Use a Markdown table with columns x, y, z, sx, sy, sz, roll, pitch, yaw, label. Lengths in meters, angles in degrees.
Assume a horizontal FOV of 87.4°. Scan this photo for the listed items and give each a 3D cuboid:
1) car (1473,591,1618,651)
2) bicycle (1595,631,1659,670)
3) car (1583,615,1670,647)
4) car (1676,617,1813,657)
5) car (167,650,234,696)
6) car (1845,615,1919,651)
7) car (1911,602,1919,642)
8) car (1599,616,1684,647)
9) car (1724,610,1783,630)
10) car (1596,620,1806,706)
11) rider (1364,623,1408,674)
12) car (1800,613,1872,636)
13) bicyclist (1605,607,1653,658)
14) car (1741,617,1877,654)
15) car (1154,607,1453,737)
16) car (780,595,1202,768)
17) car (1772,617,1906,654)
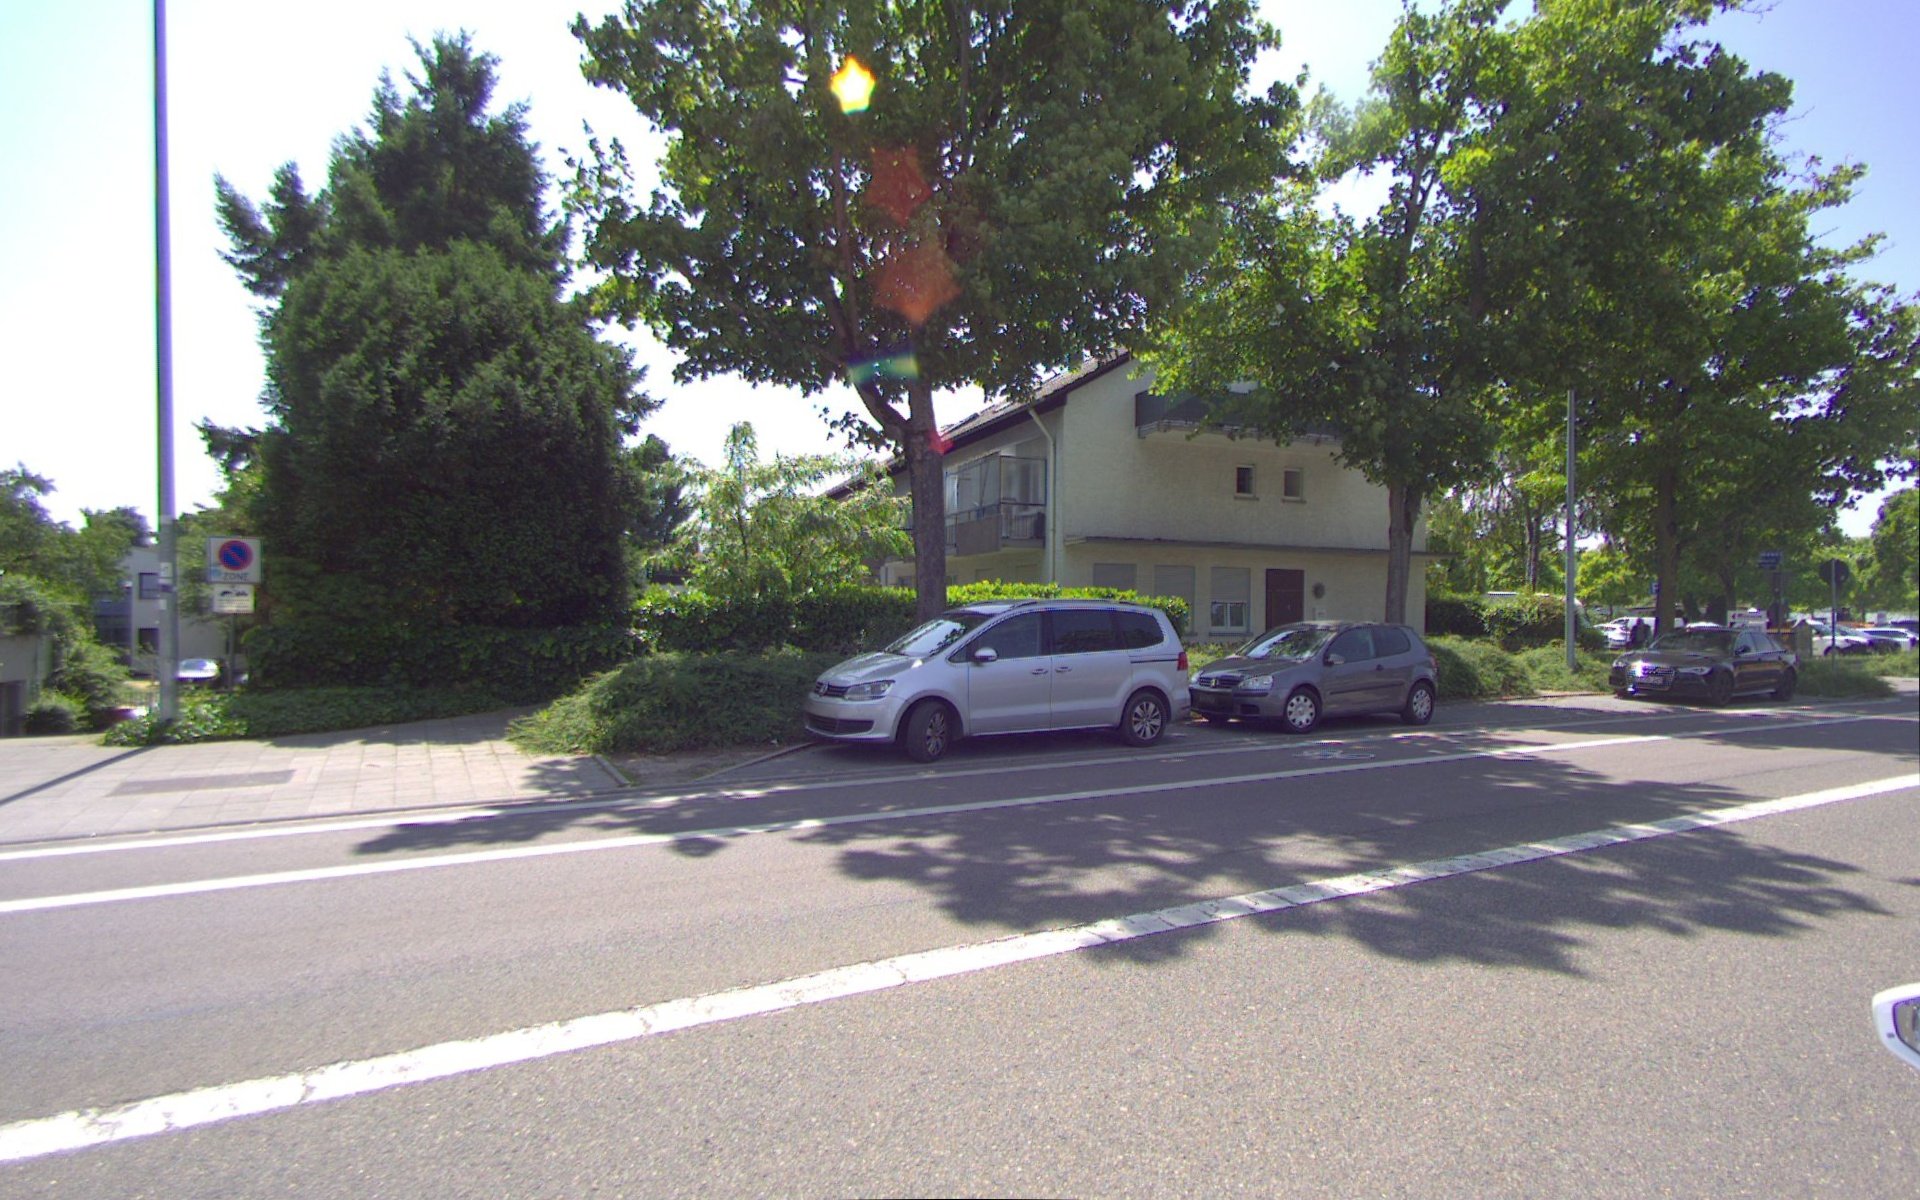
| x | y | z | sx | sy | sz | roll | pitch | yaw | label |
| --- | --- | --- | --- | --- | --- | --- | --- | --- | --- |
| 33.237 | 1.130 | 57.323 | 2.337 | 3.005 | 6.817 | 2 | 1 | -30 | car |
| 19.133 | 1.453 | 28.812 | 1.805 | 1.043 | 0.698 | 2 | 1 | -27 | bicycle |
| 40.032 | 1.863 | 60.437 | 1.799 | 1.675 | 3.957 | 2 | 1 | -37 | car |
| 33.826 | 1.566 | 43.425 | 1.891 | 1.606 | 4.321 | 1 | -1 | -31 | car |
| -35.716 | 3.392 | 47.332 | 1.977 | 1.740 | 3.968 | 2 | 1 | -30 | car |
| 47.635 | 1.659 | 50.792 | 1.975 | 1.769 | 3.968 | 1 | -1 | -30 | car |
| 56.685 | 1.373 | 55.769 | 2.349 | 2.274 | 5.076 | 2 | 1 | -28 | car |
| 41.959 | 1.924 | 61.892 | 1.799 | 1.675 | 3.957 | 2 | 1 | -37 | car |
| 74.998 | 1.852 | 94.981 | 1.794 | 1.638 | 4.003 | 2 | 1 | -28 | car |
| 14.981 | 1.199 | 20.263 | 4.397 | 1.496 | 1.809 | 1 | 1 | -31 | car |
| 11.800 | 1.337 | 27.830 | 0.800 | 1.392 | 0.824 | 1 | -1 | -21 | rider |
| 70.850 | 1.951 | 81.335 | 1.795 | 1.638 | 4.000 | 2 | 1 | -30 | car |
| 19.173 | 0.930 | 28.791 | 0.817 | 1.392 | 0.806 | 2 | 1 | -27 | bicyclist |
| 38.255 | 1.569 | 45.393 | 1.886 | 1.606 | 4.332 | 1 | -1 | -24 | car |
| 4.980 | 0.935 | 14.451 | 4.132 | 1.585 | 1.809 | 1 | 1 | -31 | car |
| 0.449 | 0.808 | 11.823 | 4.725 | 1.687 | 1.863 | 1 | 0 | -31 | car |
| 40.807 | 1.608 | 46.740 | 1.885 | 1.606 | 4.333 | 1 | -1 | -23 | car |
